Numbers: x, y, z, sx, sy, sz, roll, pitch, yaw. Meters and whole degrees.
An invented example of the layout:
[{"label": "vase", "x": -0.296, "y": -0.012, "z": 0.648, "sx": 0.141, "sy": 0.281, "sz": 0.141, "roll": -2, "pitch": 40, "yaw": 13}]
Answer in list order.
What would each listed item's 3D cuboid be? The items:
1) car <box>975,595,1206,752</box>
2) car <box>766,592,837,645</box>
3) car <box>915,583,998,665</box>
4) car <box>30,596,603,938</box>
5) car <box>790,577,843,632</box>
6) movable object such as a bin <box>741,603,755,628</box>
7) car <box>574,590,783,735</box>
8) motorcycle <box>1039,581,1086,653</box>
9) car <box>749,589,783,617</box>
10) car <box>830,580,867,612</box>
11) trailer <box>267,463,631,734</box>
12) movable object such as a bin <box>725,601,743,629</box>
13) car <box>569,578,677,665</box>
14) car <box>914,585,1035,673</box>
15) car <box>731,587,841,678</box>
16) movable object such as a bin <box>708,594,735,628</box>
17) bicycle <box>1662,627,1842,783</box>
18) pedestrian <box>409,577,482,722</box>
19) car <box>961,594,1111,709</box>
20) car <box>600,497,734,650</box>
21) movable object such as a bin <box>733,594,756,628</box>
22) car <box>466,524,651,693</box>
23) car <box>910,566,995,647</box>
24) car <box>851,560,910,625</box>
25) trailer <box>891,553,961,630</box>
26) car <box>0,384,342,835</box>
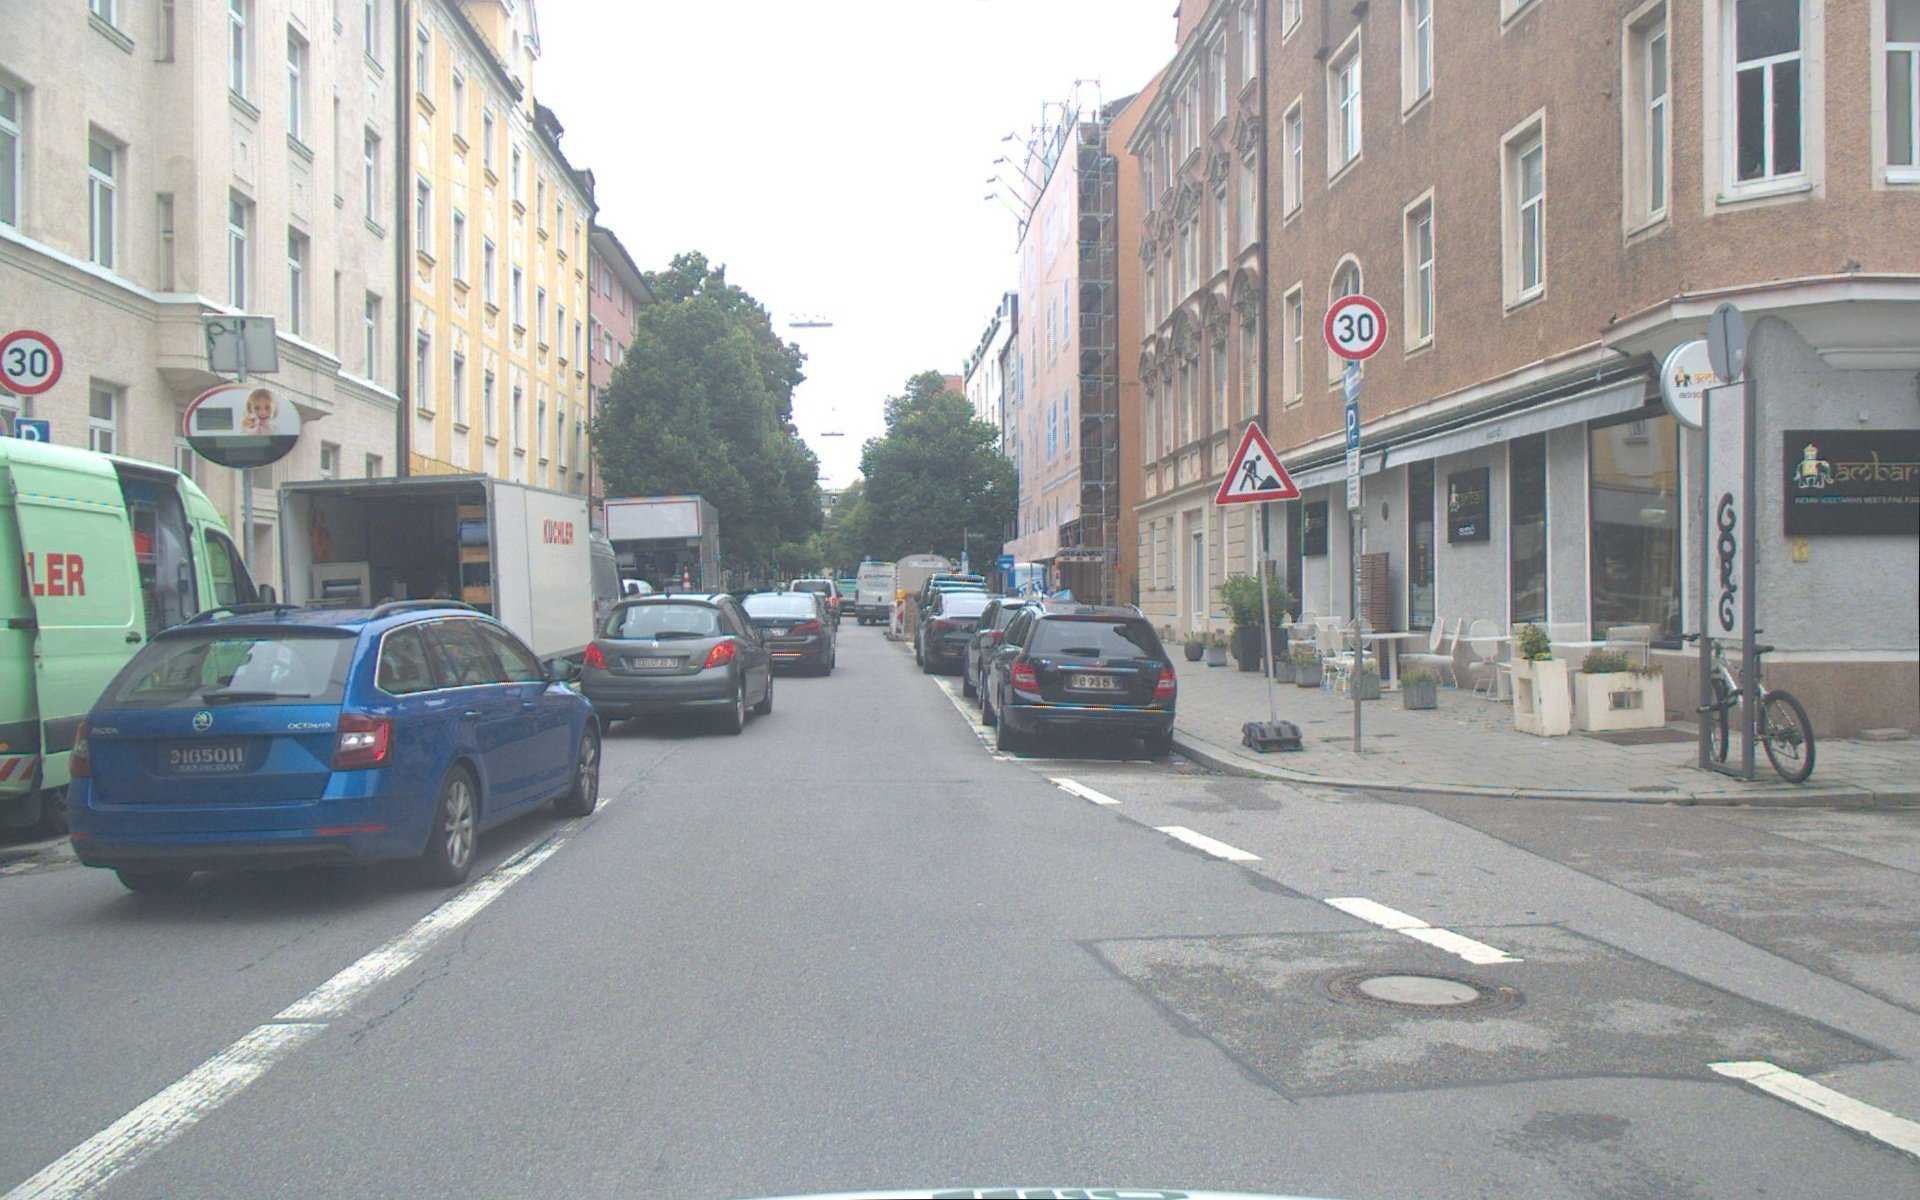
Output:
[{"label": "car", "x": 1.228, "y": 0.665, "z": 17.608, "sx": 1.810, "sy": 1.429, "sz": 4.785, "roll": 0, "pitch": 0, "yaw": -3}, {"label": "car", "x": -4.455, "y": 0.487, "z": 46.838, "sx": 1.830, "sy": 1.371, "sz": 4.344, "roll": 1, "pitch": 1, "yaw": -4}, {"label": "car", "x": -0.146, "y": 0.531, "z": 38.211, "sx": 1.660, "sy": 1.706, "sz": 4.405, "roll": 3, "pitch": 0, "yaw": -3}, {"label": "car", "x": -3.308, "y": 0.730, "z": 9.487, "sx": 1.753, "sy": 1.486, "sz": 4.312, "roll": -1, "pitch": 0, "yaw": -3}, {"label": "car", "x": -5.262, "y": 0.132, "z": 61.085, "sx": 1.830, "sy": 1.902, "sz": 4.344, "roll": 1, "pitch": 1, "yaw": -4}, {"label": "movable object such as a bin", "x": -9.038, "y": 0.654, "z": 70.563, "sx": 0.536, "sy": 1.038, "sz": 0.635, "roll": -2, "pitch": 1, "yaw": -7}, {"label": "car", "x": -3.058, "y": 0.632, "z": 18.659, "sx": 1.705, "sy": 1.446, "sz": 3.664, "roll": -1, "pitch": 0, "yaw": 0}, {"label": "motorcycle", "x": 2.242, "y": 0.363, "z": 36.511, "sx": 0.854, "sy": 1.531, "sz": 1.996, "roll": 0, "pitch": 0, "yaw": -2}, {"label": "car", "x": -10.515, "y": 0.151, "z": 89.897, "sx": 1.777, "sy": 1.504, "sz": 3.995, "roll": 0, "pitch": 0, "yaw": -6}, {"label": "car", "x": -6.123, "y": -0.235, "z": 90.665, "sx": 1.968, "sy": 1.682, "sz": 4.344, "roll": 1, "pitch": 1, "yaw": -4}, {"label": "trailer", "x": -6.762, "y": -0.086, "z": 23.244, "sx": 2.747, "sy": 3.020, "sz": 7.598, "roll": -3, "pitch": 1, "yaw": -1}, {"label": "movable object such as a bin", "x": -9.639, "y": 0.637, "z": 70.456, "sx": 0.698, "sy": 1.168, "sz": 0.635, "roll": -2, "pitch": 1, "yaw": -7}, {"label": "car", "x": -7.700, "y": 0.460, "z": 38.126, "sx": 1.728, "sy": 1.810, "sz": 4.324, "roll": -2, "pitch": 0, "yaw": -3}, {"label": "car", "x": 0.191, "y": 0.509, "z": 32.560, "sx": 1.893, "sy": 1.580, "sz": 5.631, "roll": 0, "pitch": 0, "yaw": -5}, {"label": "car", "x": -3.109, "y": 0.538, "z": 30.105, "sx": 1.831, "sy": 1.479, "sz": 4.343, "roll": 1, "pitch": 1, "yaw": -5}, {"label": "movable object such as a bin", "x": -10.265, "y": 0.450, "z": 71.243, "sx": 1.061, "sy": 1.400, "sz": 1.082, "roll": -2, "pitch": 1, "yaw": -8}, {"label": "bicycle", "x": 6.062, "y": 0.765, "z": 12.759, "sx": 0.485, "sy": 1.022, "sz": 1.803, "roll": -2, "pitch": 1, "yaw": -1}, {"label": "pedestrian", "x": -6.064, "y": 0.571, "z": 19.474, "sx": 0.751, "sy": 1.659, "sz": 0.632, "roll": -1, "pitch": 0, "yaw": -23}, {"label": "car", "x": 0.960, "y": 0.651, "z": 22.815, "sx": 1.541, "sy": 1.419, "sz": 4.178, "roll": -1, "pitch": 0, "yaw": -5}, {"label": "car", "x": -8.042, "y": -0.687, "z": 46.463, "sx": 2.757, "sy": 3.884, "sz": 8.716, "roll": -1, "pitch": 0, "yaw": -4}, {"label": "movable object such as a bin", "x": -9.297, "y": 0.478, "z": 71.399, "sx": 0.901, "sy": 1.400, "sz": 1.078, "roll": -2, "pitch": 1, "yaw": -8}, {"label": "car", "x": -7.256, "y": 0.112, "z": 30.722, "sx": 2.016, "sy": 2.632, "sz": 6.871, "roll": -4, "pitch": 1, "yaw": -4}, {"label": "car", "x": -0.263, "y": 0.240, "z": 43.953, "sx": 2.041, "sy": 1.955, "sz": 5.137, "roll": 1, "pitch": -2, "yaw": -3}, {"label": "car", "x": -3.472, "y": -0.300, "z": 73.035, "sx": 2.069, "sy": 2.710, "sz": 5.501, "roll": 1, "pitch": 0, "yaw": 2}, {"label": "trailer", "x": -1.414, "y": -0.302, "z": 66.079, "sx": 2.453, "sy": 2.889, "sz": 6.896, "roll": 1, "pitch": 0, "yaw": -4}, {"label": "car", "x": -6.764, "y": 0.038, "z": 12.290, "sx": 2.098, "sy": 2.617, "sz": 6.790, "roll": 0, "pitch": 0, "yaw": -3}]
